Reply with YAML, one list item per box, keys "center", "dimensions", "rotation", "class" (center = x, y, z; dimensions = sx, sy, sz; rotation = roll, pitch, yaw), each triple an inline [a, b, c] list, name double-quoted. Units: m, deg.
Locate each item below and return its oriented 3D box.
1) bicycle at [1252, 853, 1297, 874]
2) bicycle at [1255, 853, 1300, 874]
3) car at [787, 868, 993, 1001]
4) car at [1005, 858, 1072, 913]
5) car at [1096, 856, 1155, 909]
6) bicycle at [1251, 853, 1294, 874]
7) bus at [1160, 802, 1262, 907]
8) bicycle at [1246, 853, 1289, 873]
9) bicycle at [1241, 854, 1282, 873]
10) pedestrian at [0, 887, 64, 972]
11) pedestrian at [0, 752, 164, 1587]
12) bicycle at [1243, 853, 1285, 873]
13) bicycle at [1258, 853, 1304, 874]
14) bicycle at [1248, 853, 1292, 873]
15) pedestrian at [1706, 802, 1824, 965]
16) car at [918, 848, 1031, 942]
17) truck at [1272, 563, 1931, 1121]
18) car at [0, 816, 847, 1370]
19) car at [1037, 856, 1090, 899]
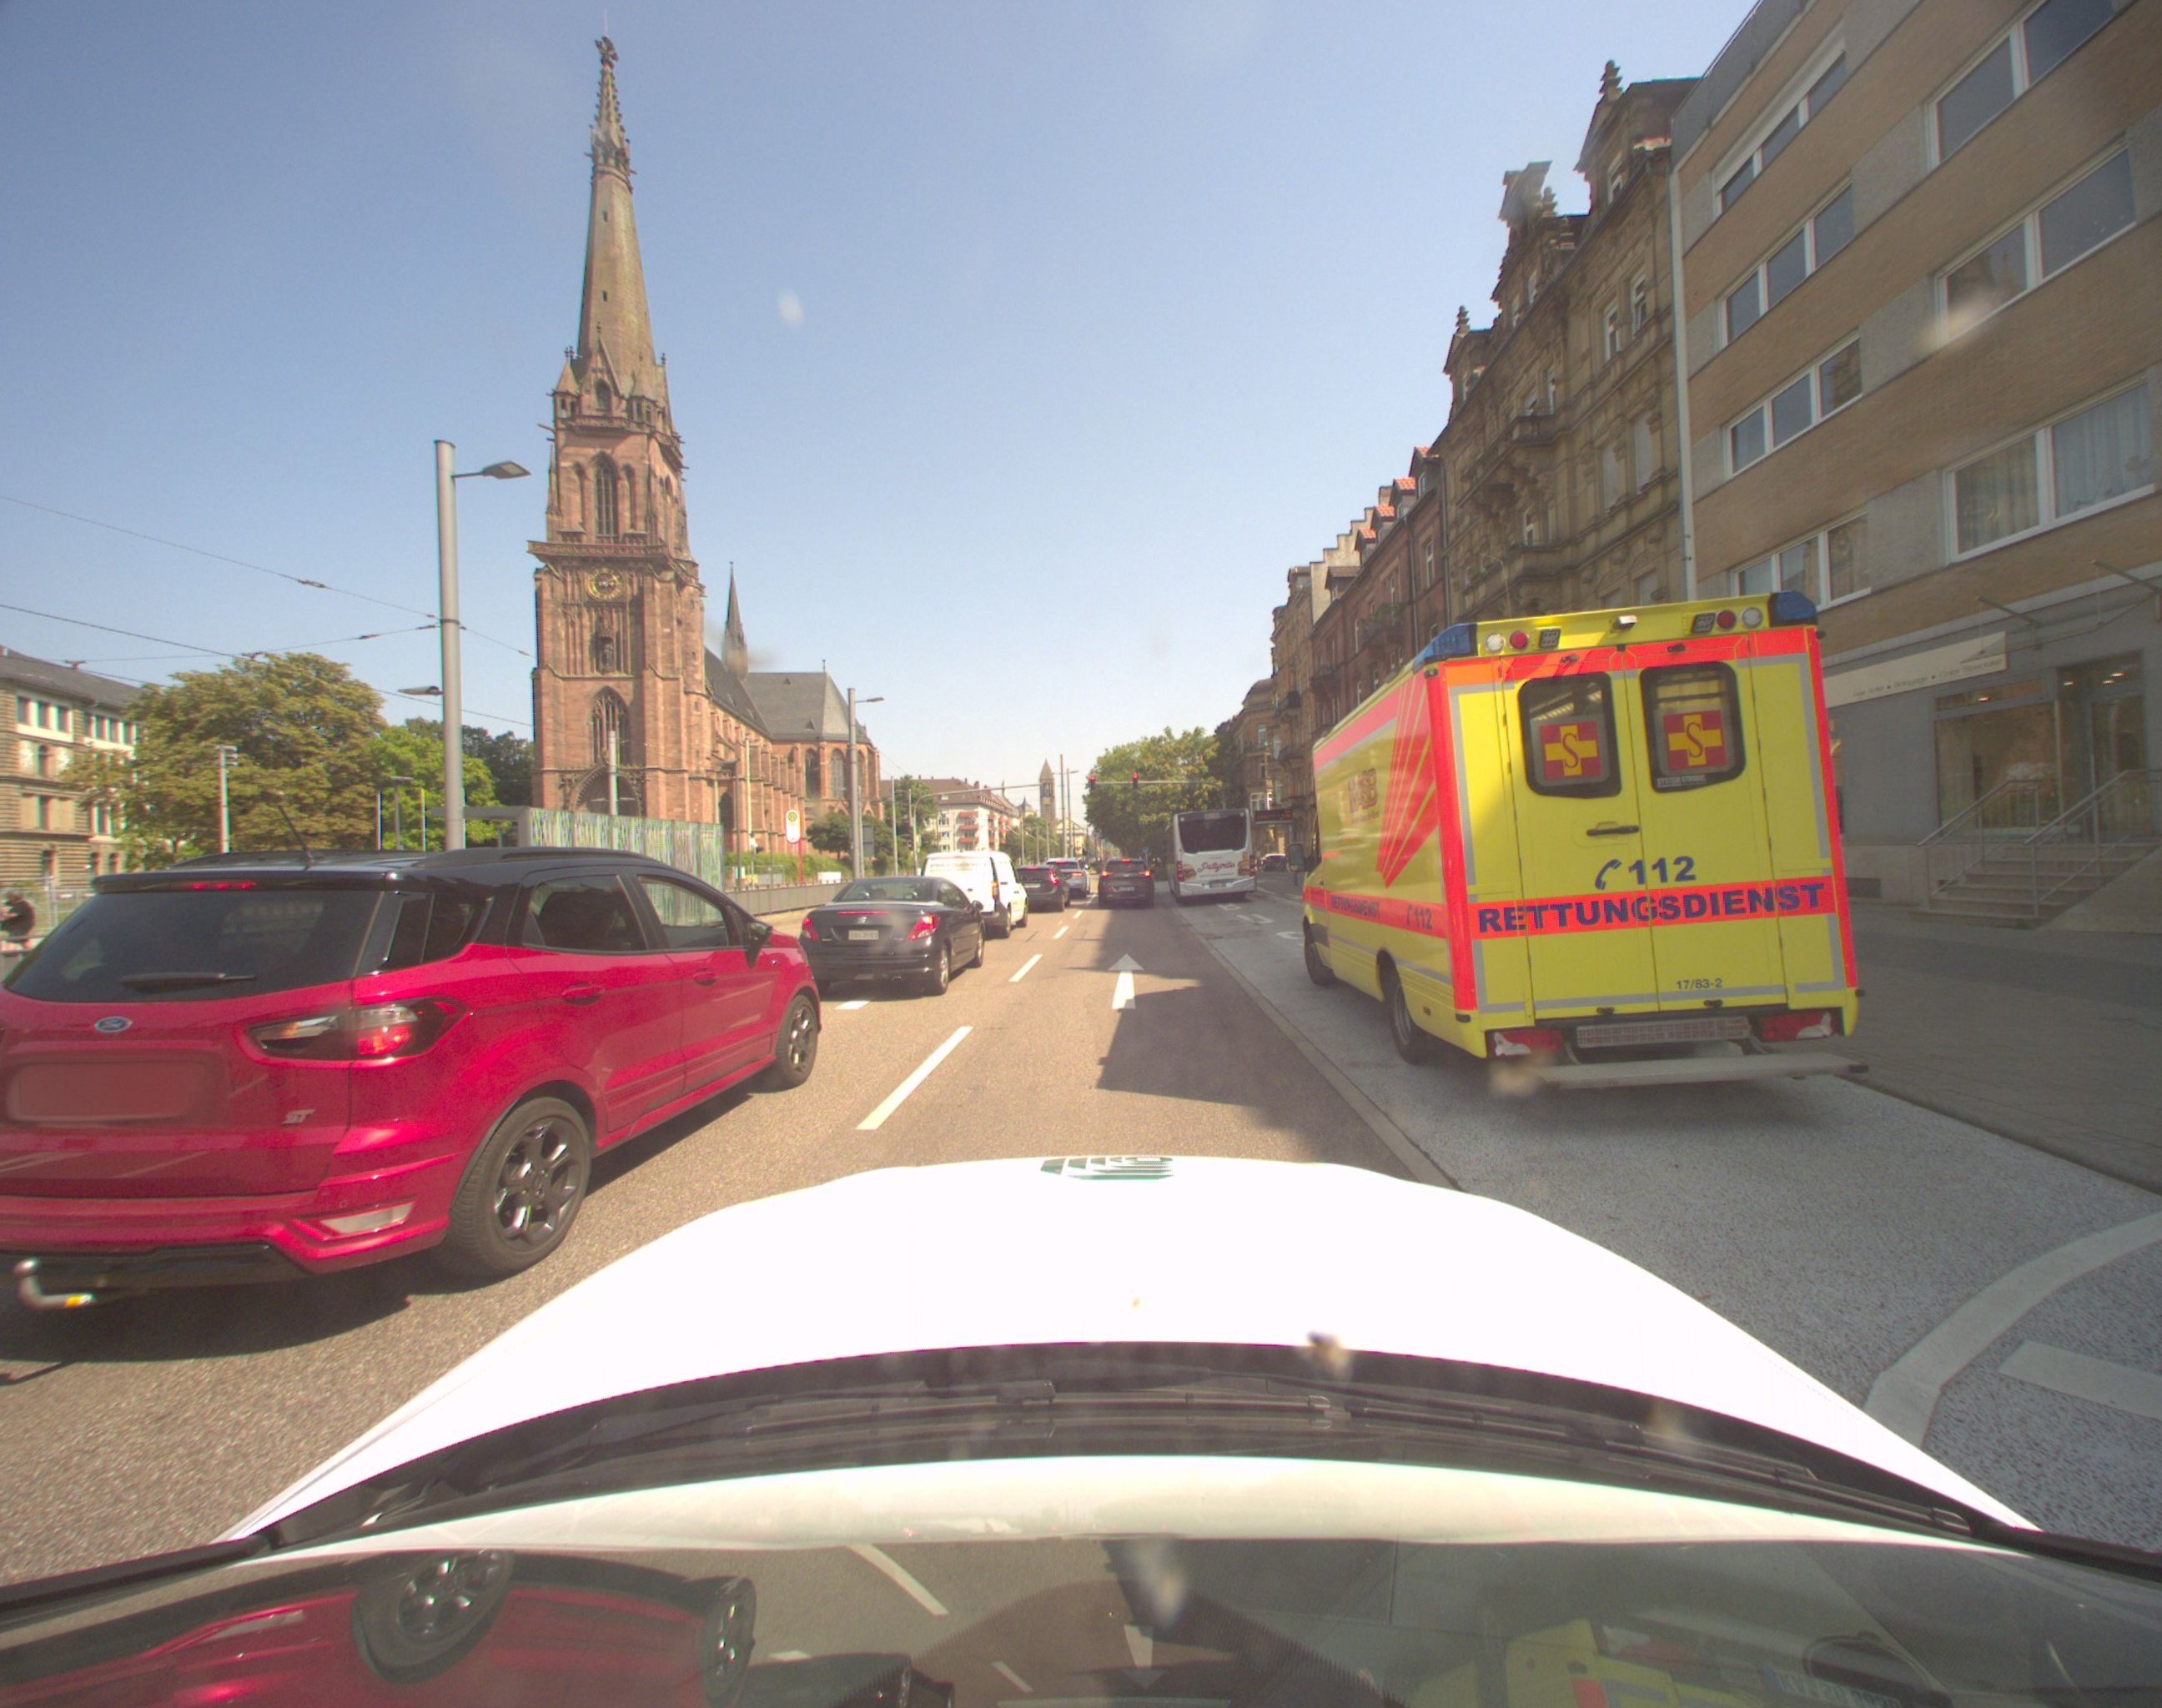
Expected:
- center: [14.046, 0.684, 59.160]
  dimensions: [2.982, 1.371, 0.871]
  rotation: [-2, -1, 1]
  class: "bicycle"
- center: [14.044, 0.676, 58.246]
  dimensions: [2.982, 1.371, 0.871]
  rotation: [-2, -1, 1]
  class: "bicycle"
- center: [-2.310, 0.917, 10.857]
  dimensions: [1.681, 1.414, 3.803]
  rotation: [-1, -1, 2]
  class: "car"
- center: [-1.300, 0.959, 26.491]
  dimensions: [1.740, 1.614, 4.311]
  rotation: [-1, 0, 3]
  class: "car"
- center: [1.552, 0.914, 27.871]
  dimensions: [1.825, 1.651, 4.312]
  rotation: [-1, 0, 4]
  class: "car"
- center: [14.114, 0.704, 60.106]
  dimensions: [2.982, 1.371, 0.871]
  rotation: [-2, -1, 1]
  class: "bicycle"
- center: [4.696, 0.058, 31.802]
  dimensions: [2.731, 3.107, 11.969]
  rotation: [-5, -1, 4]
  class: "bus"
- center: [14.218, 0.696, 62.144]
  dimensions: [2.992, 1.373, 0.948]
  rotation: [-2, -1, 1]
  class: "bicycle"
- center: [14.248, 0.728, 64.473]
  dimensions: [2.992, 1.373, 0.948]
  rotation: [-2, -1, 1]
  class: "bicycle"
- center: [-23.271, 1.642, 17.933]
  dimensions: [0.740, 1.787, 0.762]
  rotation: [-2, -1, 3]
  class: "pedestrian"
- center: [-2.838, 0.662, 1.480]
  dimensions: [1.240, 1.741, 0.960]
  rotation: [0, -1, -23]
  class: "pedestrian"
- center: [14.178, 0.694, 63.156]
  dimensions: [2.992, 1.373, 0.948]
  rotation: [-2, -1, 1]
  class: "bicycle"
- center: [14.096, 0.682, 57.337]
  dimensions: [2.982, 1.371, 0.871]
  rotation: [-2, -1, 1]
  class: "bicycle"
- center: [14.156, 0.689, 61.050]
  dimensions: [2.992, 1.373, 0.948]
  rotation: [-2, -1, 1]
  class: "bicycle"
- center: [7.465, 0.314, 8.921]
  dimensions: [0.719, 1.692, 0.593]
  rotation: [-2, -1, 1]
  class: "pedestrian"
- center: [-2.235, 0.816, 18.144]
  dimensions: [1.740, 1.820, 4.242]
  rotation: [-1, -1, 3]
  class: "car"
- center: [3.436, -0.012, 7.455]
  dimensions: [2.316, 2.770, 6.349]
  rotation: [-4, -1, 6]
  class: "truck"
- center: [-2.782, 0.730, 4.413]
  dimensions: [1.623, 1.621, 3.972]
  rotation: [-1, -1, 4]
  class: "car"
- center: [-0.659, 0.947, 34.360]
  dimensions: [1.894, 1.651, 4.311]
  rotation: [-1, 0, 3]
  class: "car"
